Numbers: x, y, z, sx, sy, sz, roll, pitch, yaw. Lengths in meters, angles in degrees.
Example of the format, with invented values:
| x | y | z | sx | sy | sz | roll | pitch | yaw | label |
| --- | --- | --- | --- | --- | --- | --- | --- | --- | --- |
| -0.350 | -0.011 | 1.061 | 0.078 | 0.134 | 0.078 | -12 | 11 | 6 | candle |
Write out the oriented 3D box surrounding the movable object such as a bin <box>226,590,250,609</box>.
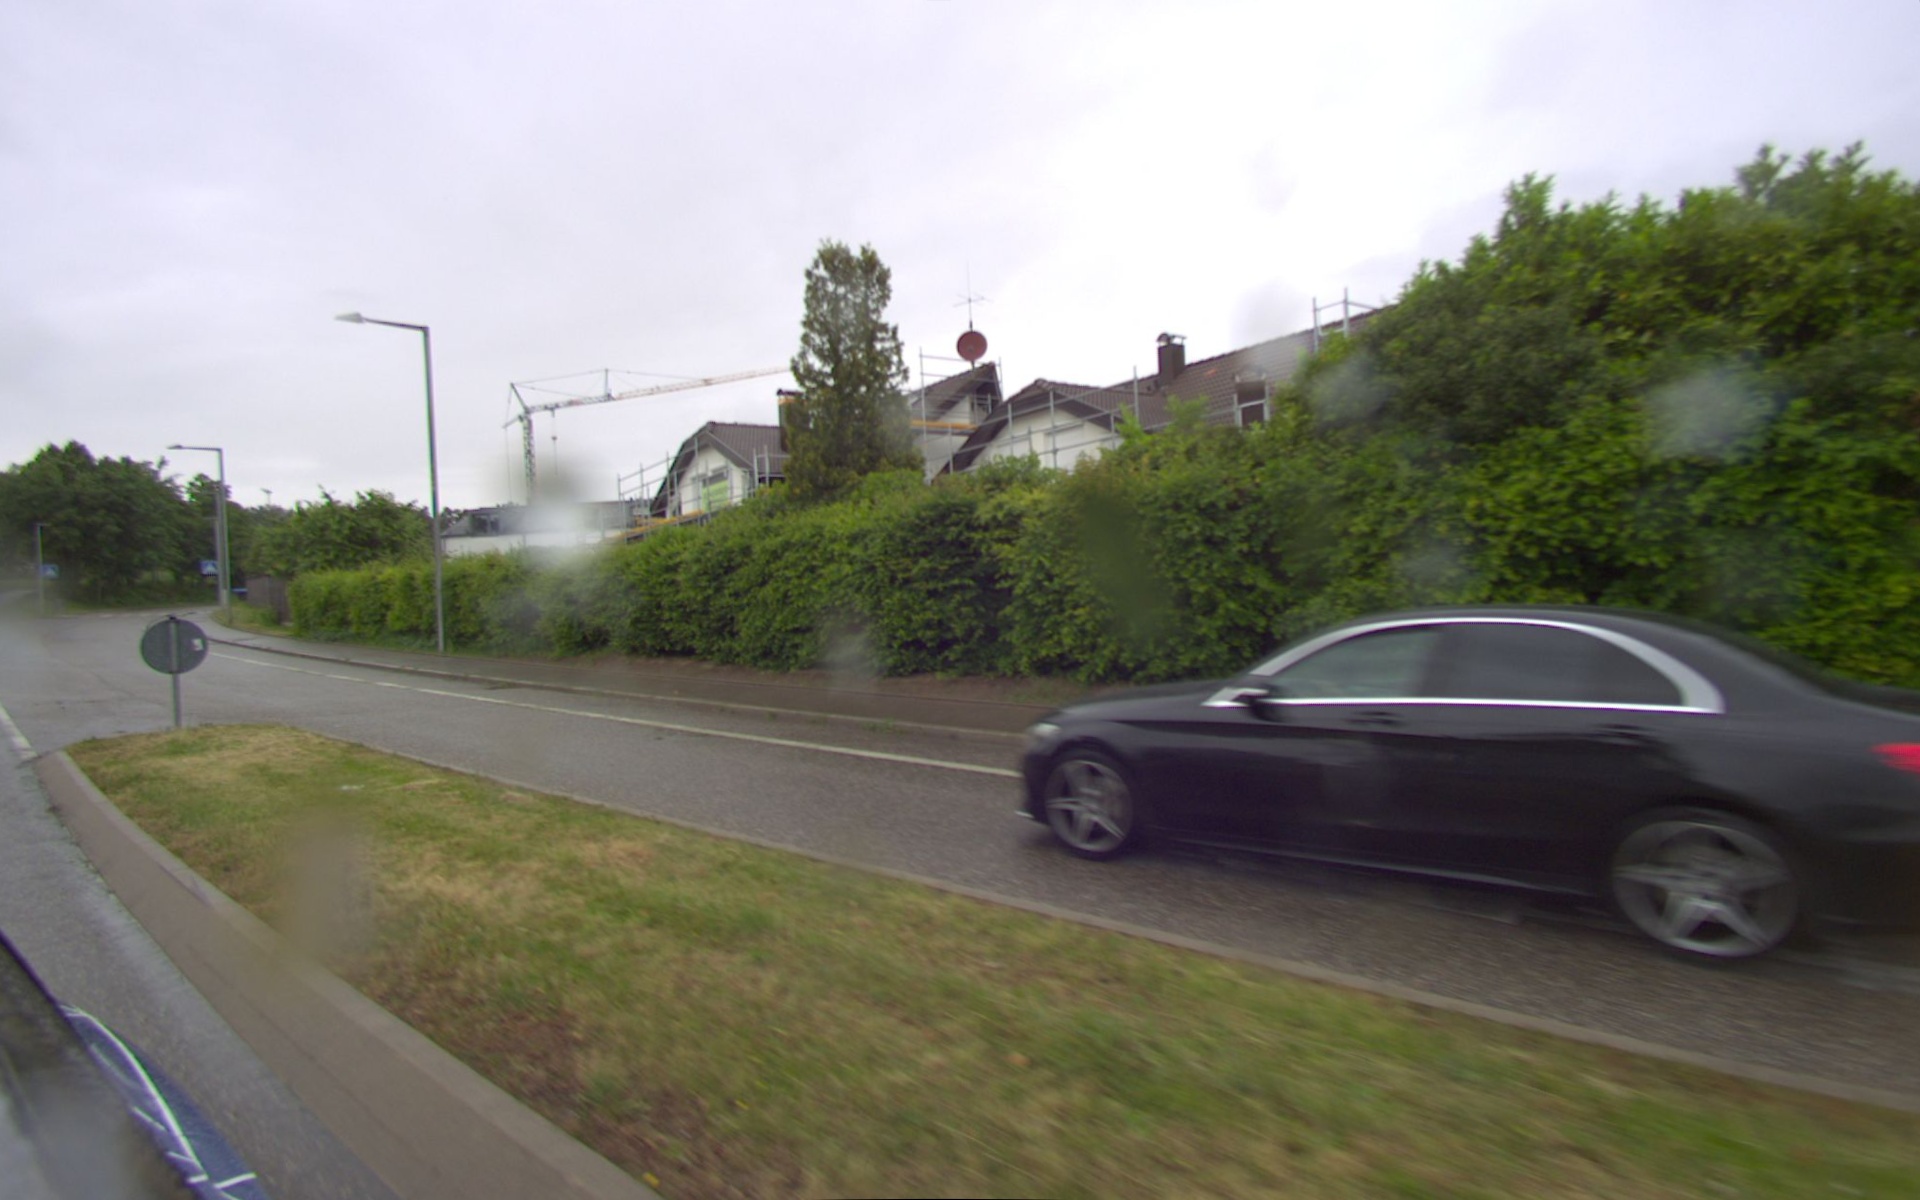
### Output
| x | y | z | sx | sy | sz | roll | pitch | yaw | label |
| --- | --- | --- | --- | --- | --- | --- | --- | --- | --- |
| -54.483 | -0.040 | 76.367 | 1.116 | 1.331 | 1.367 | -7 | 3 | -27 | movable object such as a bin |

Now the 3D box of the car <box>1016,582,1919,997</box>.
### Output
| x | y | z | sx | sy | sz | roll | pitch | yaw | label |
| --- | --- | --- | --- | --- | --- | --- | --- | --- | --- |
| 2.650 | 0.681 | 5.264 | 4.410 | 1.425 | 1.948 | -1 | -1 | 39 | car |
